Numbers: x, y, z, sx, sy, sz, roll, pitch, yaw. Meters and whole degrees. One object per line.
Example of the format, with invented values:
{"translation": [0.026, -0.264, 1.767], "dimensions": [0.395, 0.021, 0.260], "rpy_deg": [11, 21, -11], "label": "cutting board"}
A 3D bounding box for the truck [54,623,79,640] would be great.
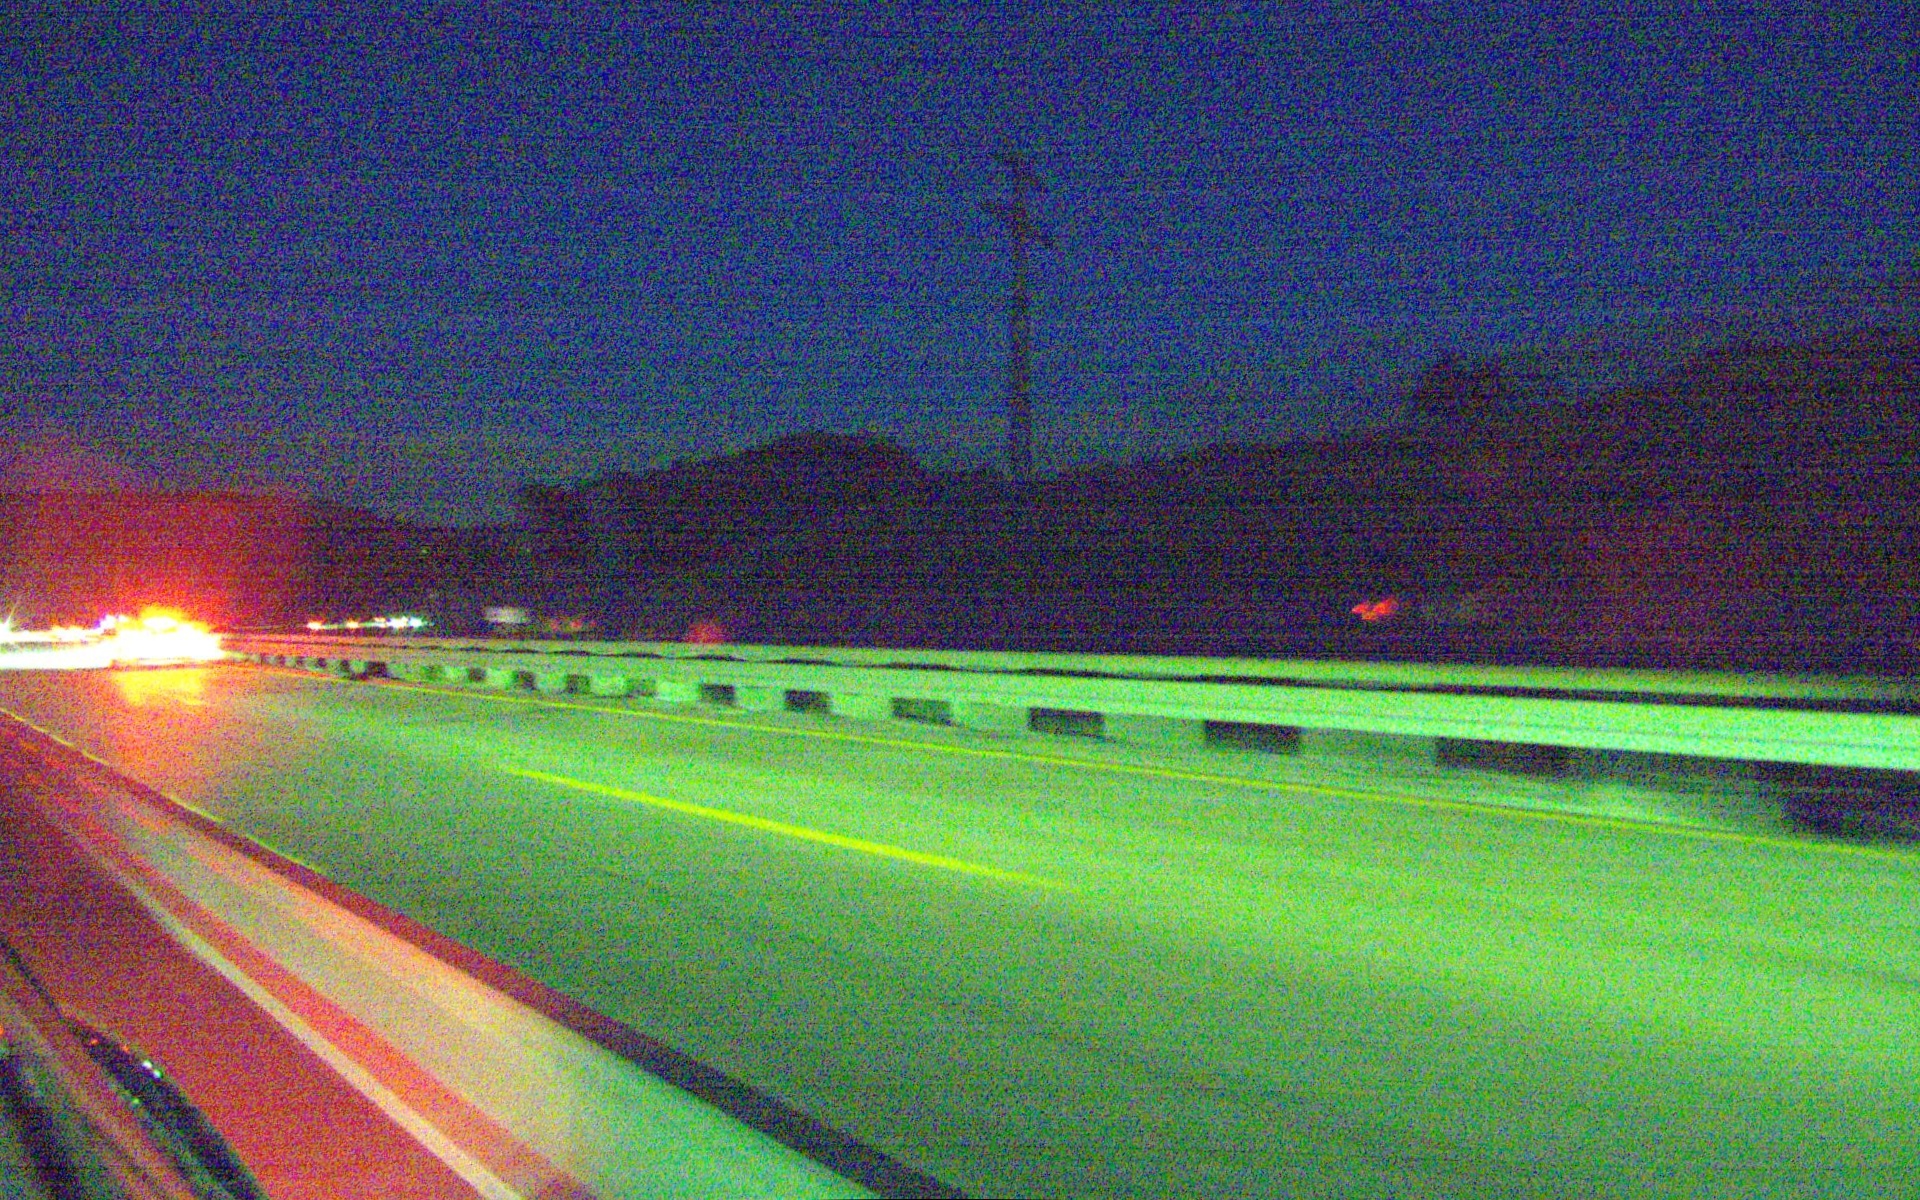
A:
{"translation": [-82.791, 2.884, 93.819], "dimensions": [1.662, 1.481, 4.159], "rpy_deg": [-1, 0, -41], "label": "truck"}

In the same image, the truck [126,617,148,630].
{"translation": [-162.006, 4.602, 199.345], "dimensions": [2.387, 2.443, 7.111], "rpy_deg": [1, -2, -32], "label": "truck"}

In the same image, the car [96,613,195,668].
{"translation": [-24.386, 1.159, 30.254], "dimensions": [4.487, 1.454, 1.693], "rpy_deg": [0, 0, 43], "label": "car"}

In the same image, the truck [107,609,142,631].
{"translation": [-170.778, 3.986, 207.107], "dimensions": [2.923, 4.307, 17.195], "rpy_deg": [1, -1, -31], "label": "truck"}
